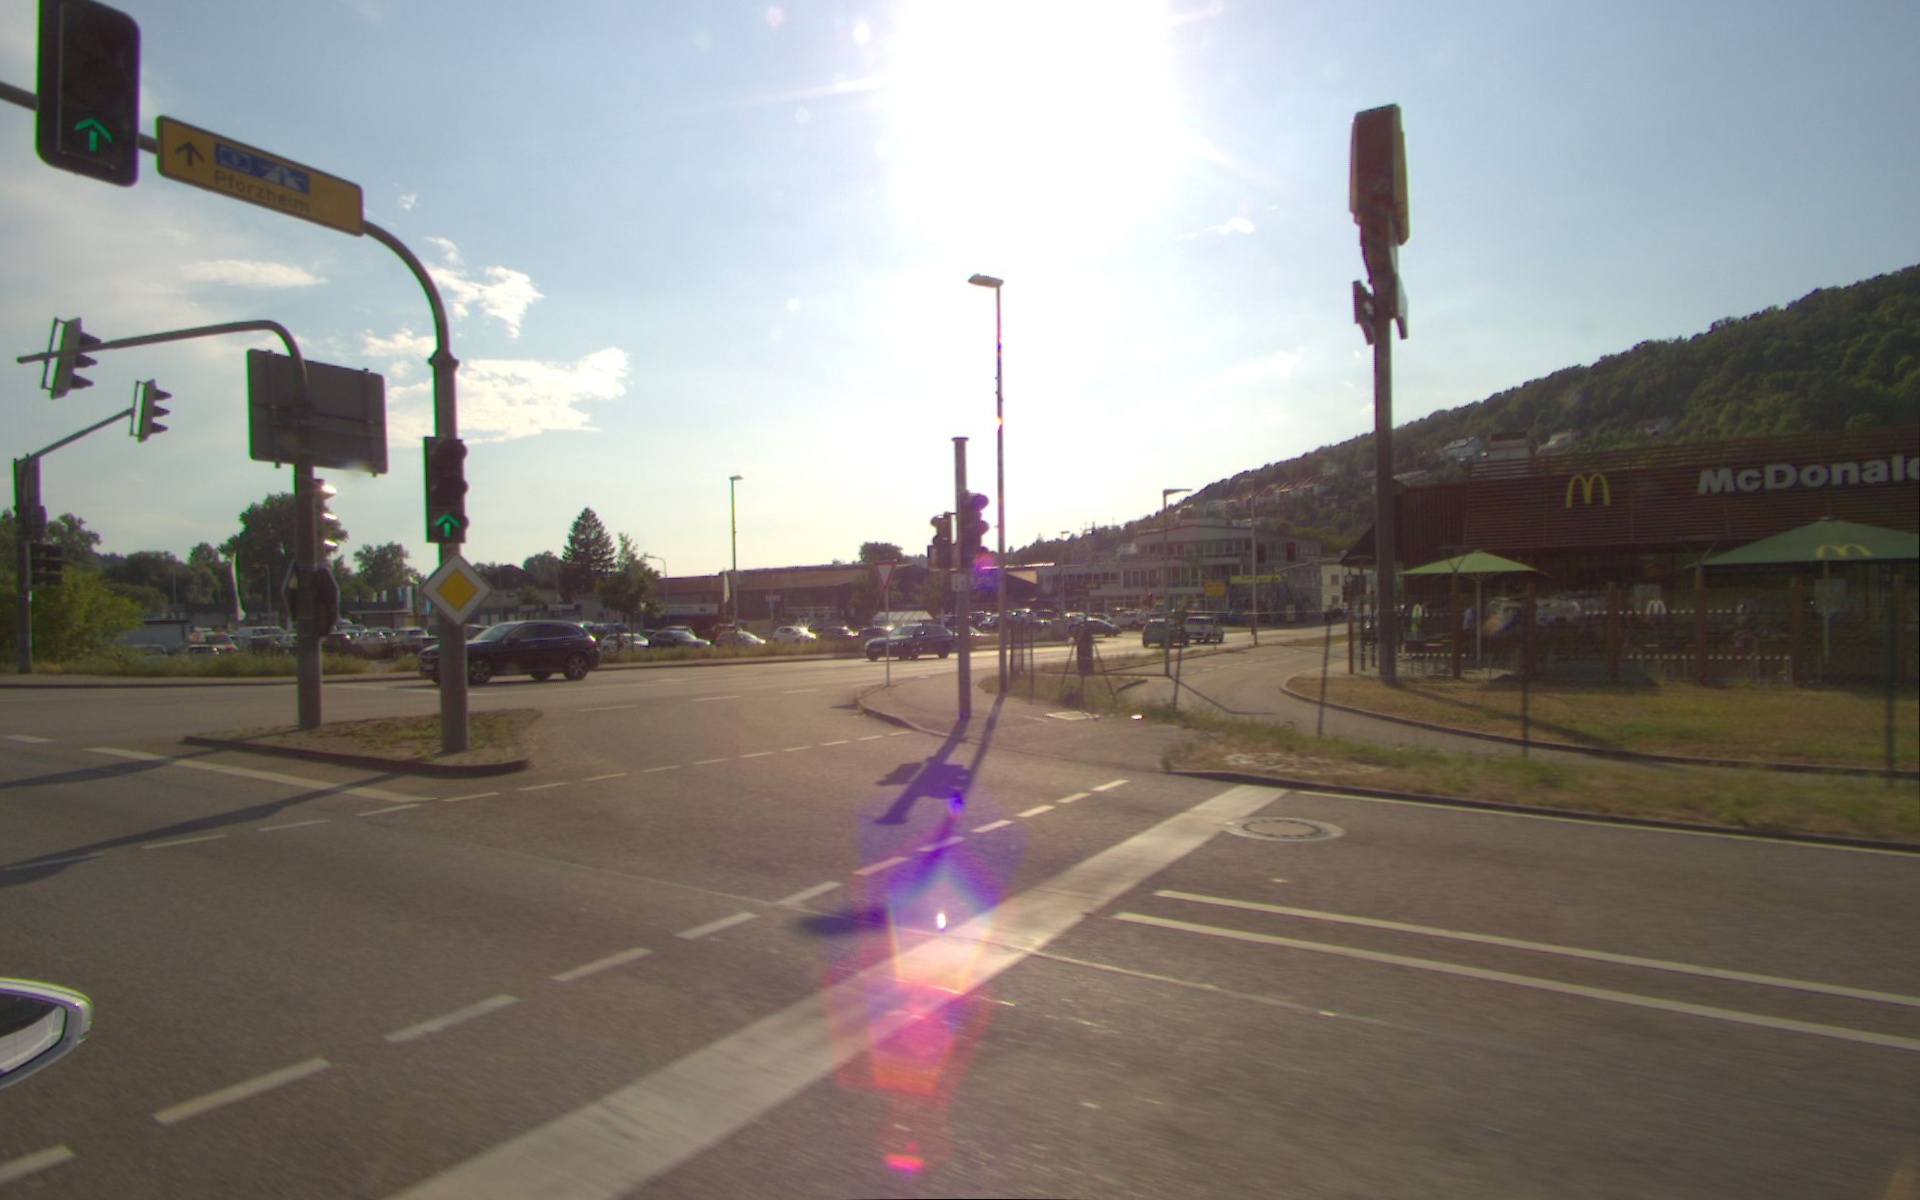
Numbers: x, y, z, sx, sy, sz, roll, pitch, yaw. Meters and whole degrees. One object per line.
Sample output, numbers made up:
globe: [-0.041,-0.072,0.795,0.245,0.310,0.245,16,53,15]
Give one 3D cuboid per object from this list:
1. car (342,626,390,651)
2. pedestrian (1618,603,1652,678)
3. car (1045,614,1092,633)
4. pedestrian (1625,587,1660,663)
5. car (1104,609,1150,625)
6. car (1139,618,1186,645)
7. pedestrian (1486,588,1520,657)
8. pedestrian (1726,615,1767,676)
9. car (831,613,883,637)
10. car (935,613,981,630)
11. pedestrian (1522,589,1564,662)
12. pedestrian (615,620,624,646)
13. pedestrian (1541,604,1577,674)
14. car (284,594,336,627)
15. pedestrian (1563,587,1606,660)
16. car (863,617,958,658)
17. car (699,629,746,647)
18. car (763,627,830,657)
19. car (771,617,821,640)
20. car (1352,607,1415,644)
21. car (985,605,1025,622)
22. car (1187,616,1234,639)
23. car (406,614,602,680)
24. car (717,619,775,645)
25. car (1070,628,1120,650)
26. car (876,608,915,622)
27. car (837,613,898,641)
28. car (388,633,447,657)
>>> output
car: [-41.100,2.664,69.265,3.301,1.644,1.607,-1,-2,33]
pedestrian: [18.871,1.128,28.006,0.753,2.039,0.731,-1,-1,36]
car: [10.361,2.290,95.656,3.942,1.772,1.991,-1,-2,31]
pedestrian: [18.585,0.680,27.268,0.753,2.039,0.731,-1,-1,36]
car: [15.777,1.643,94.543,3.948,1.438,1.838,-1,-2,36]
car: [11.719,1.818,57.925,1.555,1.505,3.306,-1,-2,34]
pedestrian: [16.258,0.677,29.971,0.750,2.039,0.735,0,-1,17]
pedestrian: [17.886,1.037,22.784,0.588,1.354,0.671,-1,-1,28]
car: [-7.870,1.921,76.499,3.704,1.772,1.795,-1,-2,32]
car: [-0.217,2.167,99.503,4.276,1.584,1.829,-1,1,30]
pedestrian: [16.627,0.726,28.559,0.748,2.039,0.736,0,-1,1]
pedestrian: [-19.289,1.855,56.740,0.375,1.477,0.564,1,-1,-33]
pedestrian: [17.839,1.160,29.841,0.722,2.039,0.763,0,-1,15]
car: [-53.935,0.907,83.088,5.396,2.582,1.751,-1,-2,35]
pedestrian: [17.734,0.667,28.441,0.748,2.039,0.736,0,-1,1]
car: [-1.999,1.533,41.370,1.675,1.616,3.968,-1,-2,41]
car: [-20.873,3.305,87.953,3.941,1.527,1.723,0,-1,32]
car: [-9.385,2.388,57.338,3.705,1.650,1.590,-1,-2,33]
car: [-13.167,2.282,80.202,3.704,1.772,1.795,-1,-2,32]
car: [18.154,1.065,42.818,1.835,1.476,3.977,-1,0,33]
car: [4.843,1.508,107.970,3.942,1.772,1.991,-1,-2,31]
car: [15.867,1.751,63.444,1.668,1.438,3.631,-1,-2,36]
car: [-12.162,1.232,26.966,1.973,1.605,4.445,-1,-2,35]
car: [-14.664,2.196,68.557,3.704,1.772,1.795,-1,-2,32]
car: [11.240,3.255,83.350,3.932,1.750,1.603,-1,-2,22]
car: [-7.726,1.796,119.928,4.517,1.609,1.829,-1,1,31]
car: [-6.087,1.777,65.900,3.705,1.772,1.795,-1,-2,33]
car: [-35.796,2.971,66.059,3.942,1.527,1.723,-1,-2,31]
